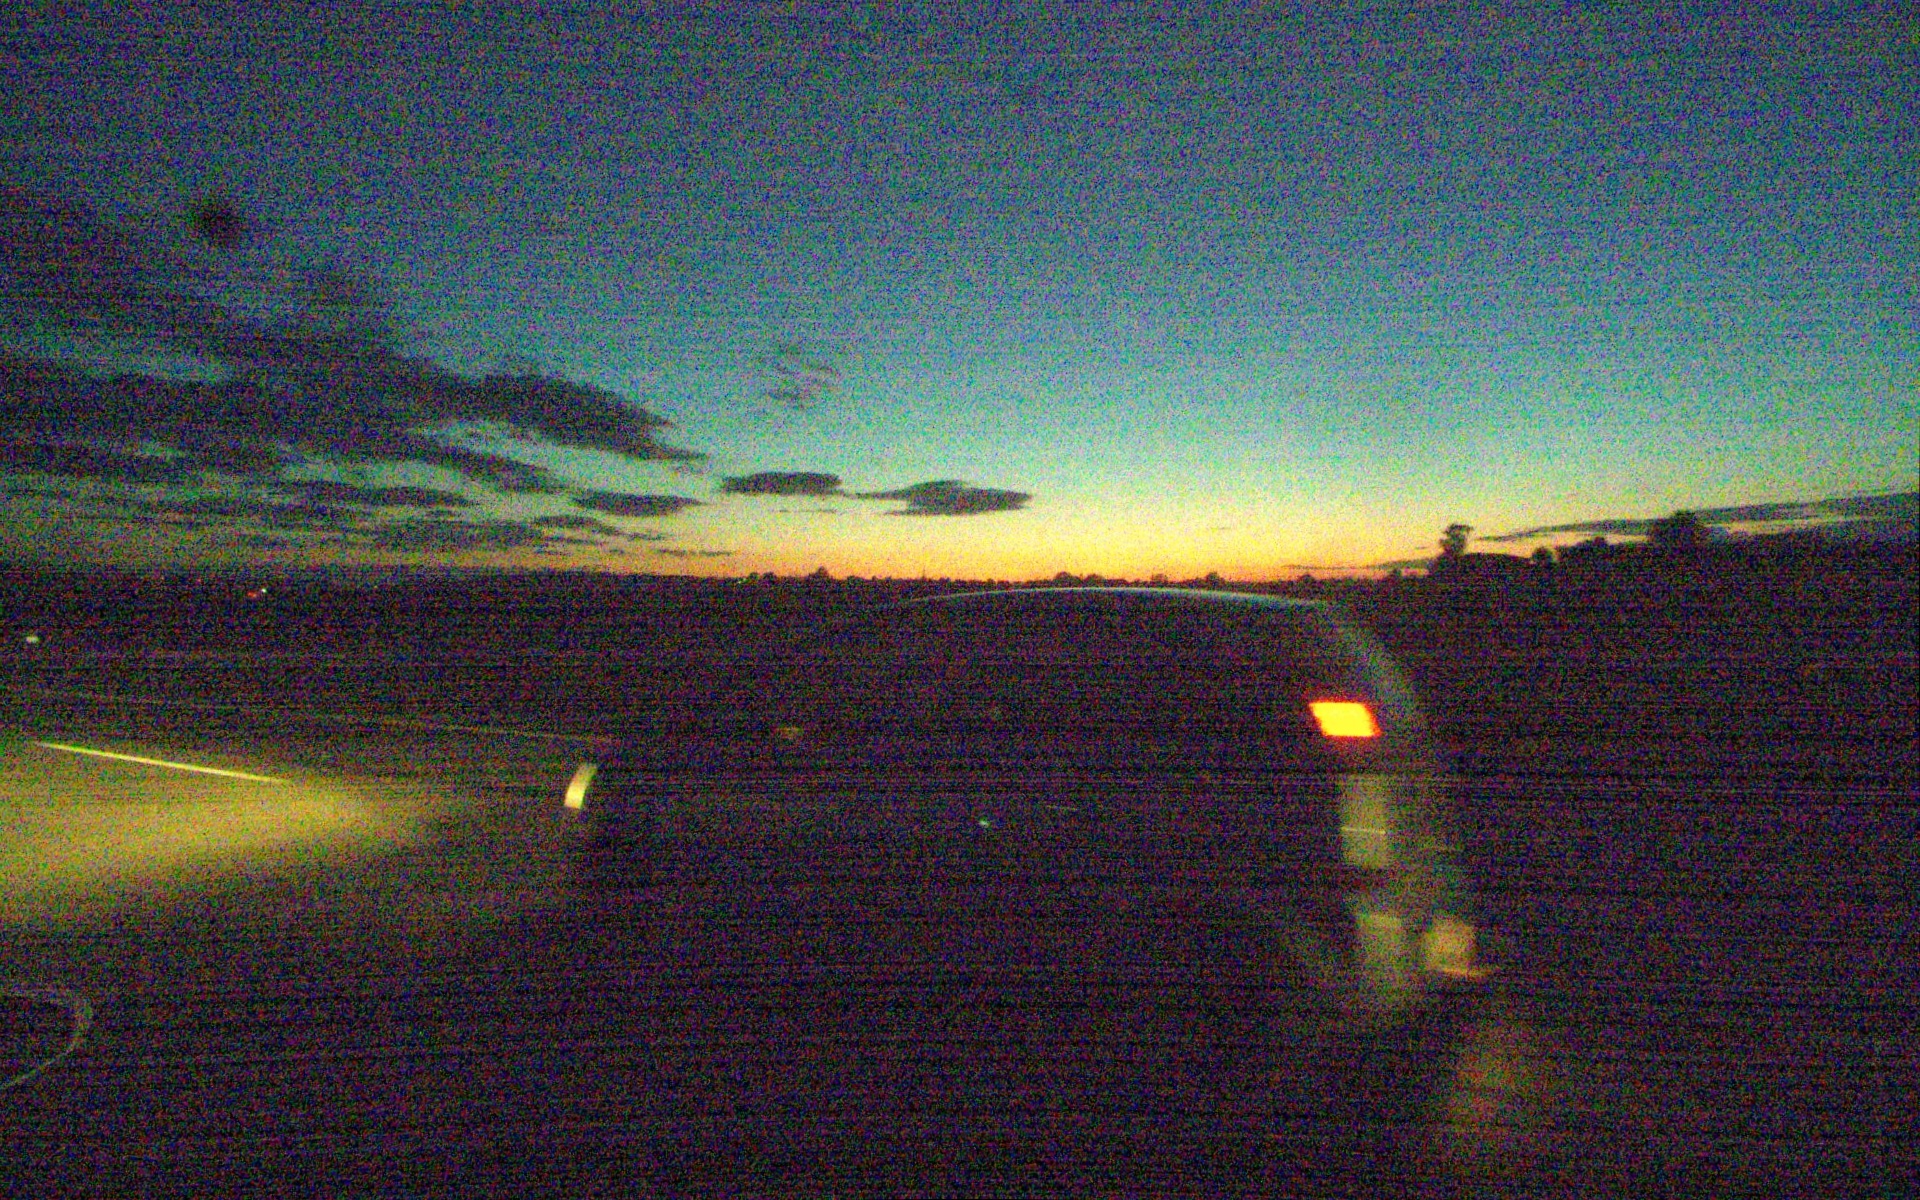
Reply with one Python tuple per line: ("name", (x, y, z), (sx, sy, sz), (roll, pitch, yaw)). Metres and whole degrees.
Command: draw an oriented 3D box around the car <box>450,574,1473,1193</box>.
("car", (-0.250, 0.762, 4.515), (4.445, 1.618, 1.642), (0, 0, 33))
